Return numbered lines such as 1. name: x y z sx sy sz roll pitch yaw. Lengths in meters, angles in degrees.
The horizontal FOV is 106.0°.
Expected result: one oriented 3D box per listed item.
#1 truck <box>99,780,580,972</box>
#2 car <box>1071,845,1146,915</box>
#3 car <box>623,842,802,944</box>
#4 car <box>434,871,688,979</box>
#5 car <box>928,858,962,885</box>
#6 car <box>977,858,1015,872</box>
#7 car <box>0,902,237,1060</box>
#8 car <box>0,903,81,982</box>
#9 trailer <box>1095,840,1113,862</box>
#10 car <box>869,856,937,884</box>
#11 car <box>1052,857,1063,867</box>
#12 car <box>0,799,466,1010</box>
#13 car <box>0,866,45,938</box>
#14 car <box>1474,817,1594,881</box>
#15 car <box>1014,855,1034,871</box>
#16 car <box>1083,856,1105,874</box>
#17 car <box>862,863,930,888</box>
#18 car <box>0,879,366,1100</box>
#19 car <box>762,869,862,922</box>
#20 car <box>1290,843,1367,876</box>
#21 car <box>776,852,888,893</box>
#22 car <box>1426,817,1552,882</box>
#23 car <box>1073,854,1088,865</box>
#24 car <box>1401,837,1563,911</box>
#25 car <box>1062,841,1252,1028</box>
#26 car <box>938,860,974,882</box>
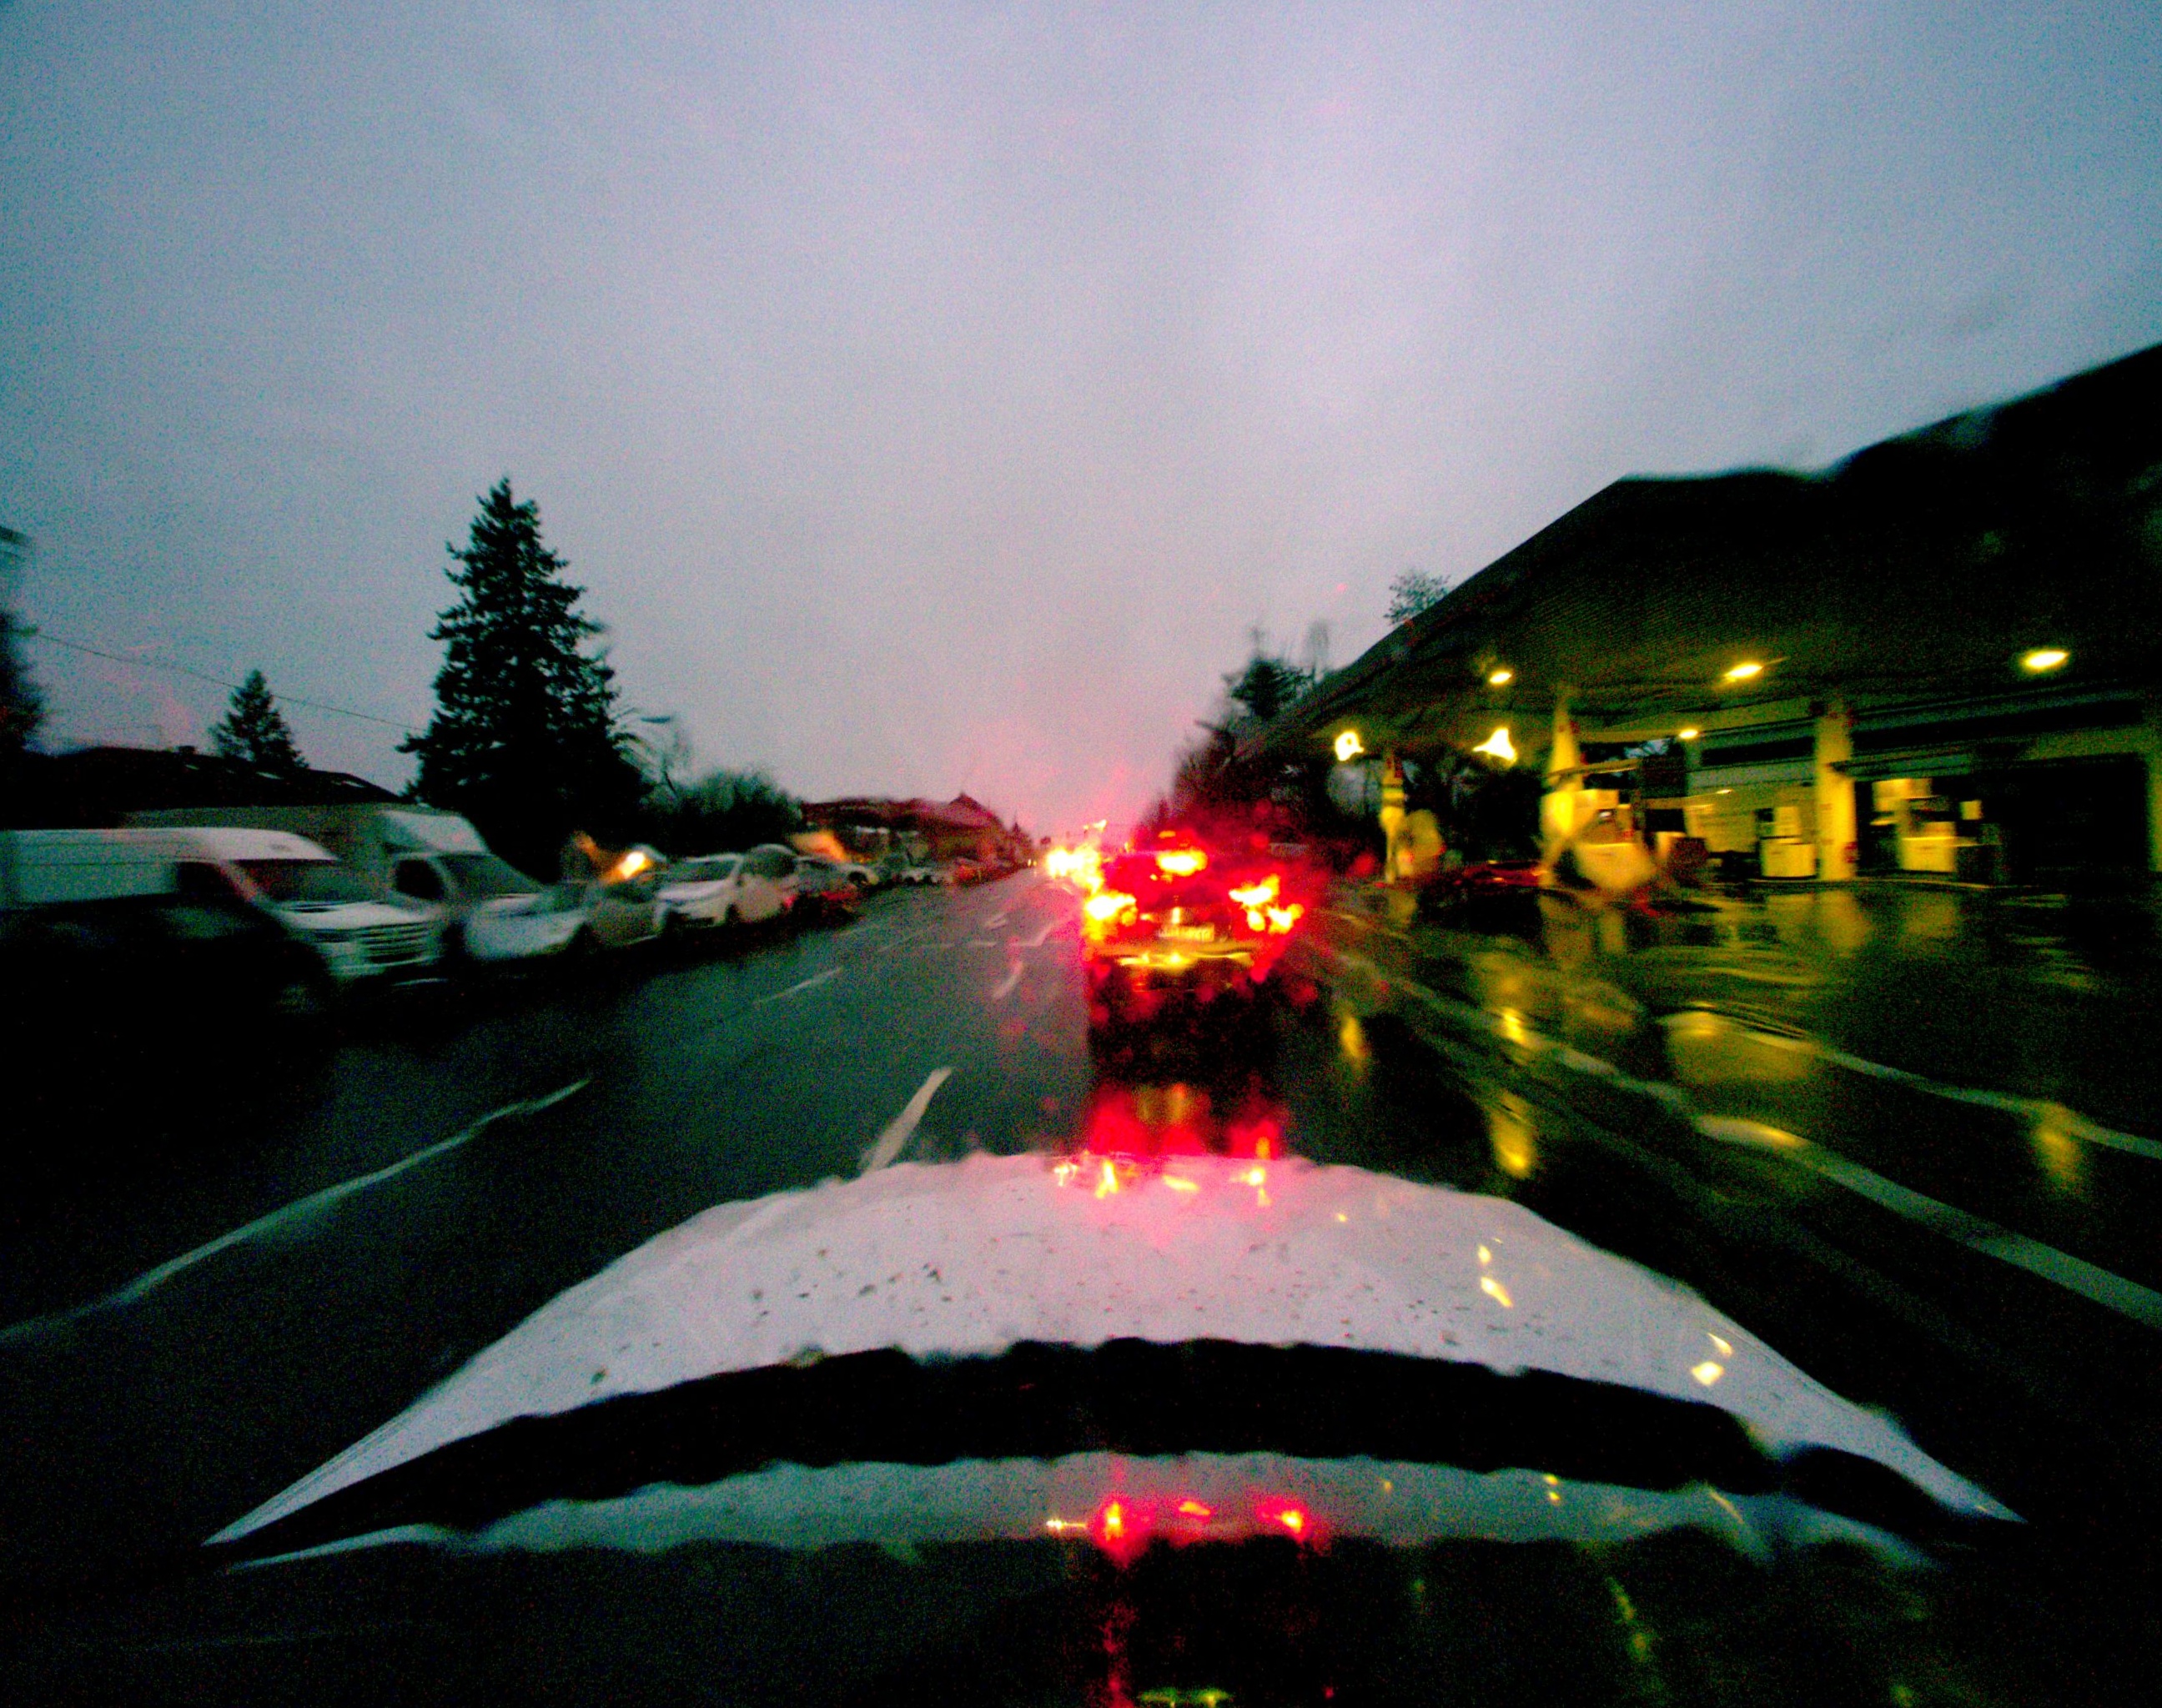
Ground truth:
1. truck: -13.800 0.383 15.555 6.838 3.142 2.333 -2 0 -1
2. car: 0.701 0.605 21.201 1.702 1.575 4.465 -2 0 1
3. car: -8.214 0.794 18.694 1.827 2.013 4.487 -2 0 3
4. car: -8.525 1.072 13.806 1.643 1.412 3.843 -2 0 3
5. car: -8.518 1.083 51.164 1.513 1.543 3.015 -3 0 1
6. car: -10.281 1.361 98.684 4.261 1.627 2.000 1 0 1
7. car: -11.913 1.404 9.102 3.220 1.492 1.497 -2 0 -3
8. car: -20.726 1.704 14.458 1.607 1.380 3.451 -2 1 -1
9. trailer: 3.554 -0.400 125.902 2.479 3.241 10.868 -1 -1 1
10. car: -11.966 1.058 54.795 4.031 1.650 1.943 -2 0 2
11. car: -3.734 1.268 129.667 1.598 1.534 4.000 -4 0 0
12. car: -13.009 0.699 12.001 6.015 2.638 2.195 -2 0 -2
13. car: -35.433 1.578 24.464 1.989 2.262 5.281 -2 0 -4
14. car: 15.762 -0.156 28.608 1.987 2.013 4.000 -2 0 1
15. car: -6.878 1.068 99.065 1.964 1.830 4.513 -3 0 1
16. car: 1.036 0.849 63.697 1.647 1.336 4.273 -2 0 1
17. car: -11.320 1.293 49.904 3.762 1.459 1.775 -1 0 -2
18. car: -8.557 1.063 6.833 1.645 1.419 3.744 -3 1 2
19. car: -7.885 1.198 24.268 1.565 1.321 4.254 -4 -2 -1
20. car: 13.702 0.281 44.961 4.508 1.608 1.995 -2 0 -43
21. car: -11.465 0.830 37.730 4.524 1.676 2.008 -2 0 -4
22. car: 13.373 -0.125 27.015 1.987 1.859 4.298 -3 0 1
23. car: -0.046 0.907 124.607 2.042 1.573 4.699 -3 -1 -2
24. car: 8.779 0.400 18.264 1.567 1.396 4.169 -3 0 1
25. car: 0.691 0.685 8.850 1.559 1.529 4.008 -2 0 1
26. car: -8.467 1.140 55.541 1.676 1.421 3.743 -2 0 3
